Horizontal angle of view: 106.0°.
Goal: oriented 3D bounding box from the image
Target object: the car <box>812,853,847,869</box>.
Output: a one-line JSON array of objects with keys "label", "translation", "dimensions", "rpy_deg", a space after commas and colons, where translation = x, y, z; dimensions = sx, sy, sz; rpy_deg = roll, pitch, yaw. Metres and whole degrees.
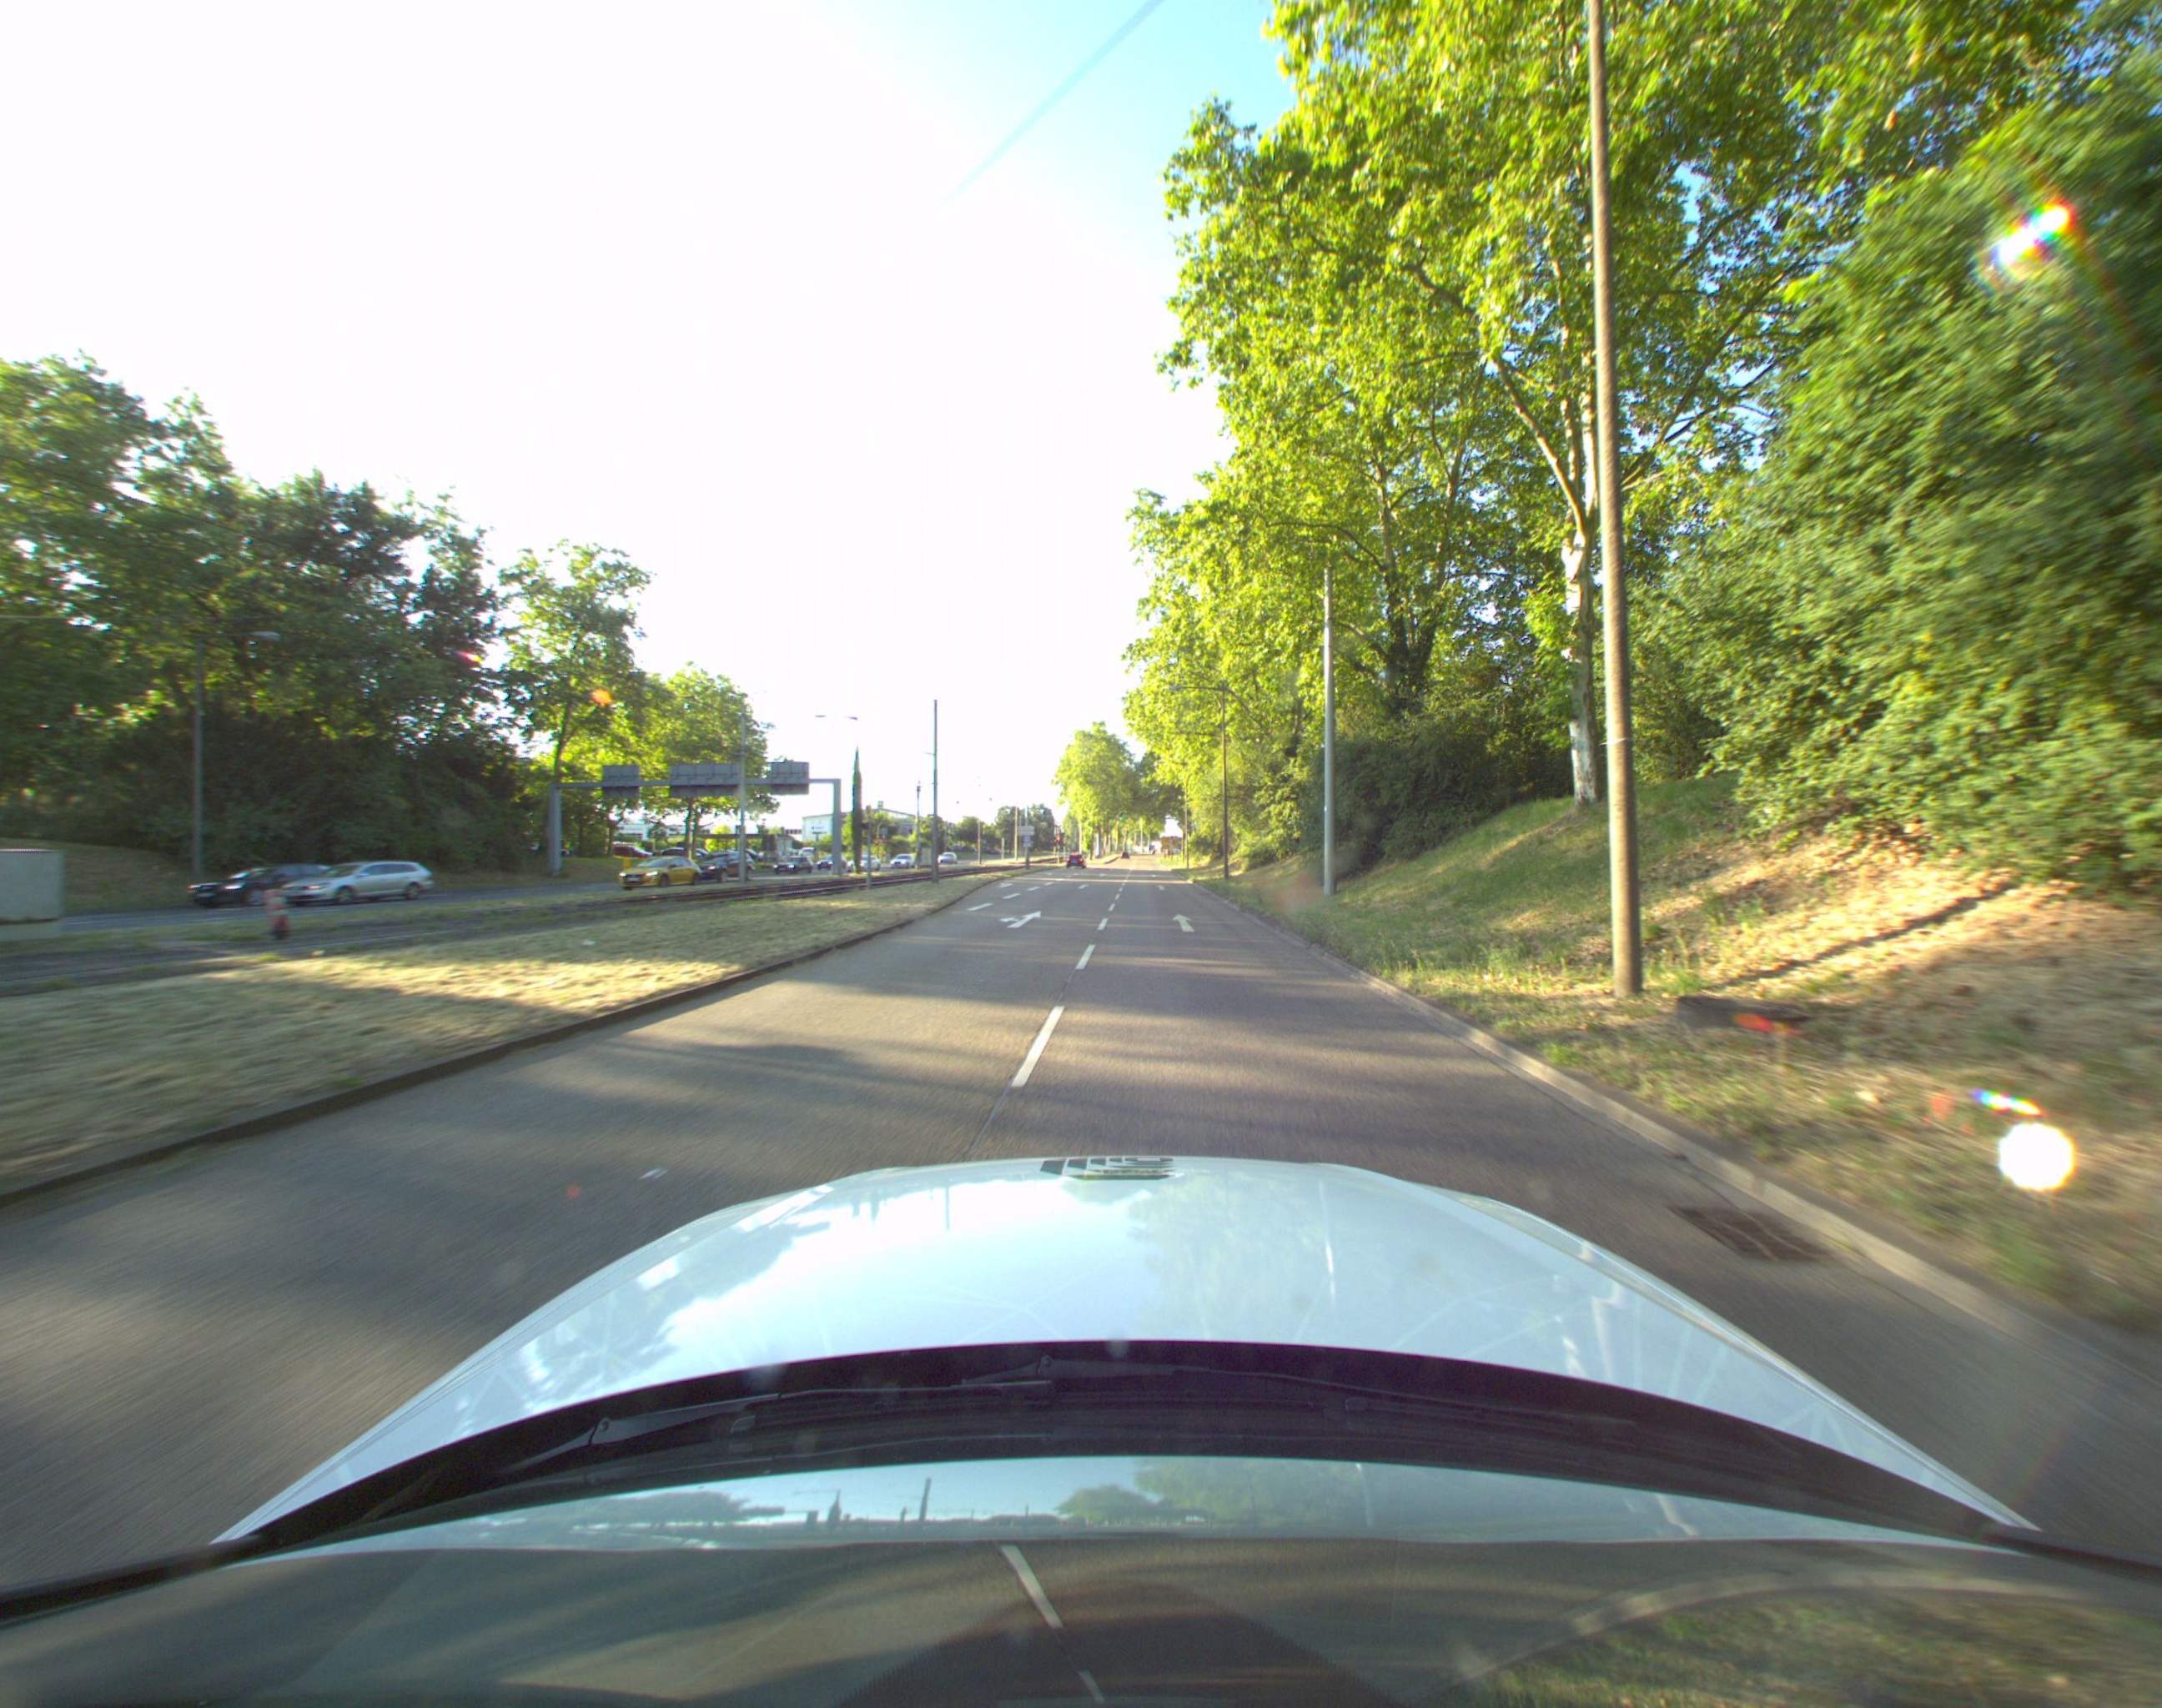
[{"label": "car", "translation": [-25.362, 0.684, 82.224], "dimensions": [1.830, 1.481, 4.604], "rpy_deg": [1, 0, 3]}]

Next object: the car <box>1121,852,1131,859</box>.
[{"label": "car", "translation": [8.642, 0.284, 157.781], "dimensions": [1.784, 1.403, 3.694], "rpy_deg": [0, 0, 5]}]

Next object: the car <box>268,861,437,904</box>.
[{"label": "car", "translation": [-25.707, 0.951, 28.980], "dimensions": [1.677, 1.416, 4.446], "rpy_deg": [0, 0, 7]}]

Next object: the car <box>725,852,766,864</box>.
[{"label": "car", "translation": [-39.770, 0.499, 96.542], "dimensions": [4.030, 1.387, 1.789], "rpy_deg": [1, 0, 10]}]

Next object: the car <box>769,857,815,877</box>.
[{"label": "car", "translation": [-23.279, 1.006, 65.719], "dimensions": [1.830, 1.481, 4.440], "rpy_deg": [1, 0, 3]}]

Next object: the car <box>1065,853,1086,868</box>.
[{"label": "car", "translation": [-0.563, 0.673, 82.183], "dimensions": [1.784, 1.403, 3.694], "rpy_deg": [-1, -1, 5]}]

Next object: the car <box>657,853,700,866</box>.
[{"label": "car", "translation": [-46.299, 0.631, 93.629], "dimensions": [4.035, 1.387, 1.786], "rpy_deg": [1, 0, 5]}]

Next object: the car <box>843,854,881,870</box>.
[{"label": "car", "translation": [-19.039, 0.673, 70.929], "dimensions": [1.831, 1.416, 4.603], "rpy_deg": [0, 0, 3]}]

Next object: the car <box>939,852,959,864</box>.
[{"label": "car", "translation": [-16.803, 0.501, 103.943], "dimensions": [1.646, 1.416, 4.263], "rpy_deg": [0, 0, 4]}]

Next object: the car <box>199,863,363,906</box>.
[{"label": "car", "translation": [-29.026, 1.065, 29.751], "dimensions": [1.679, 1.416, 4.195], "rpy_deg": [1, 0, 3]}]

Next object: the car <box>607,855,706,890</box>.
[{"label": "car", "translation": [-18.153, 0.778, 35.037], "dimensions": [1.829, 1.416, 4.025], "rpy_deg": [0, -1, 6]}]

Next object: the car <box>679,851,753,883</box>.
[{"label": "car", "translation": [-20.462, 0.691, 45.870], "dimensions": [1.829, 1.655, 4.442], "rpy_deg": [1, 0, 5]}]

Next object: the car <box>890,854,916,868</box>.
[{"label": "car", "translation": [-18.543, 0.743, 84.945], "dimensions": [1.646, 1.416, 4.262], "rpy_deg": [0, 0, 3]}]

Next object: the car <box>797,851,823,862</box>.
[{"label": "car", "translation": [-37.552, 0.388, 113.111], "dimensions": [1.831, 1.442, 4.008], "rpy_deg": [1, 0, 7]}]

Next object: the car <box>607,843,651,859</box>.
[{"label": "car", "translation": [-52.080, -0.325, 93.920], "dimensions": [3.966, 1.860, 2.004], "rpy_deg": [0, 0, 7]}]
